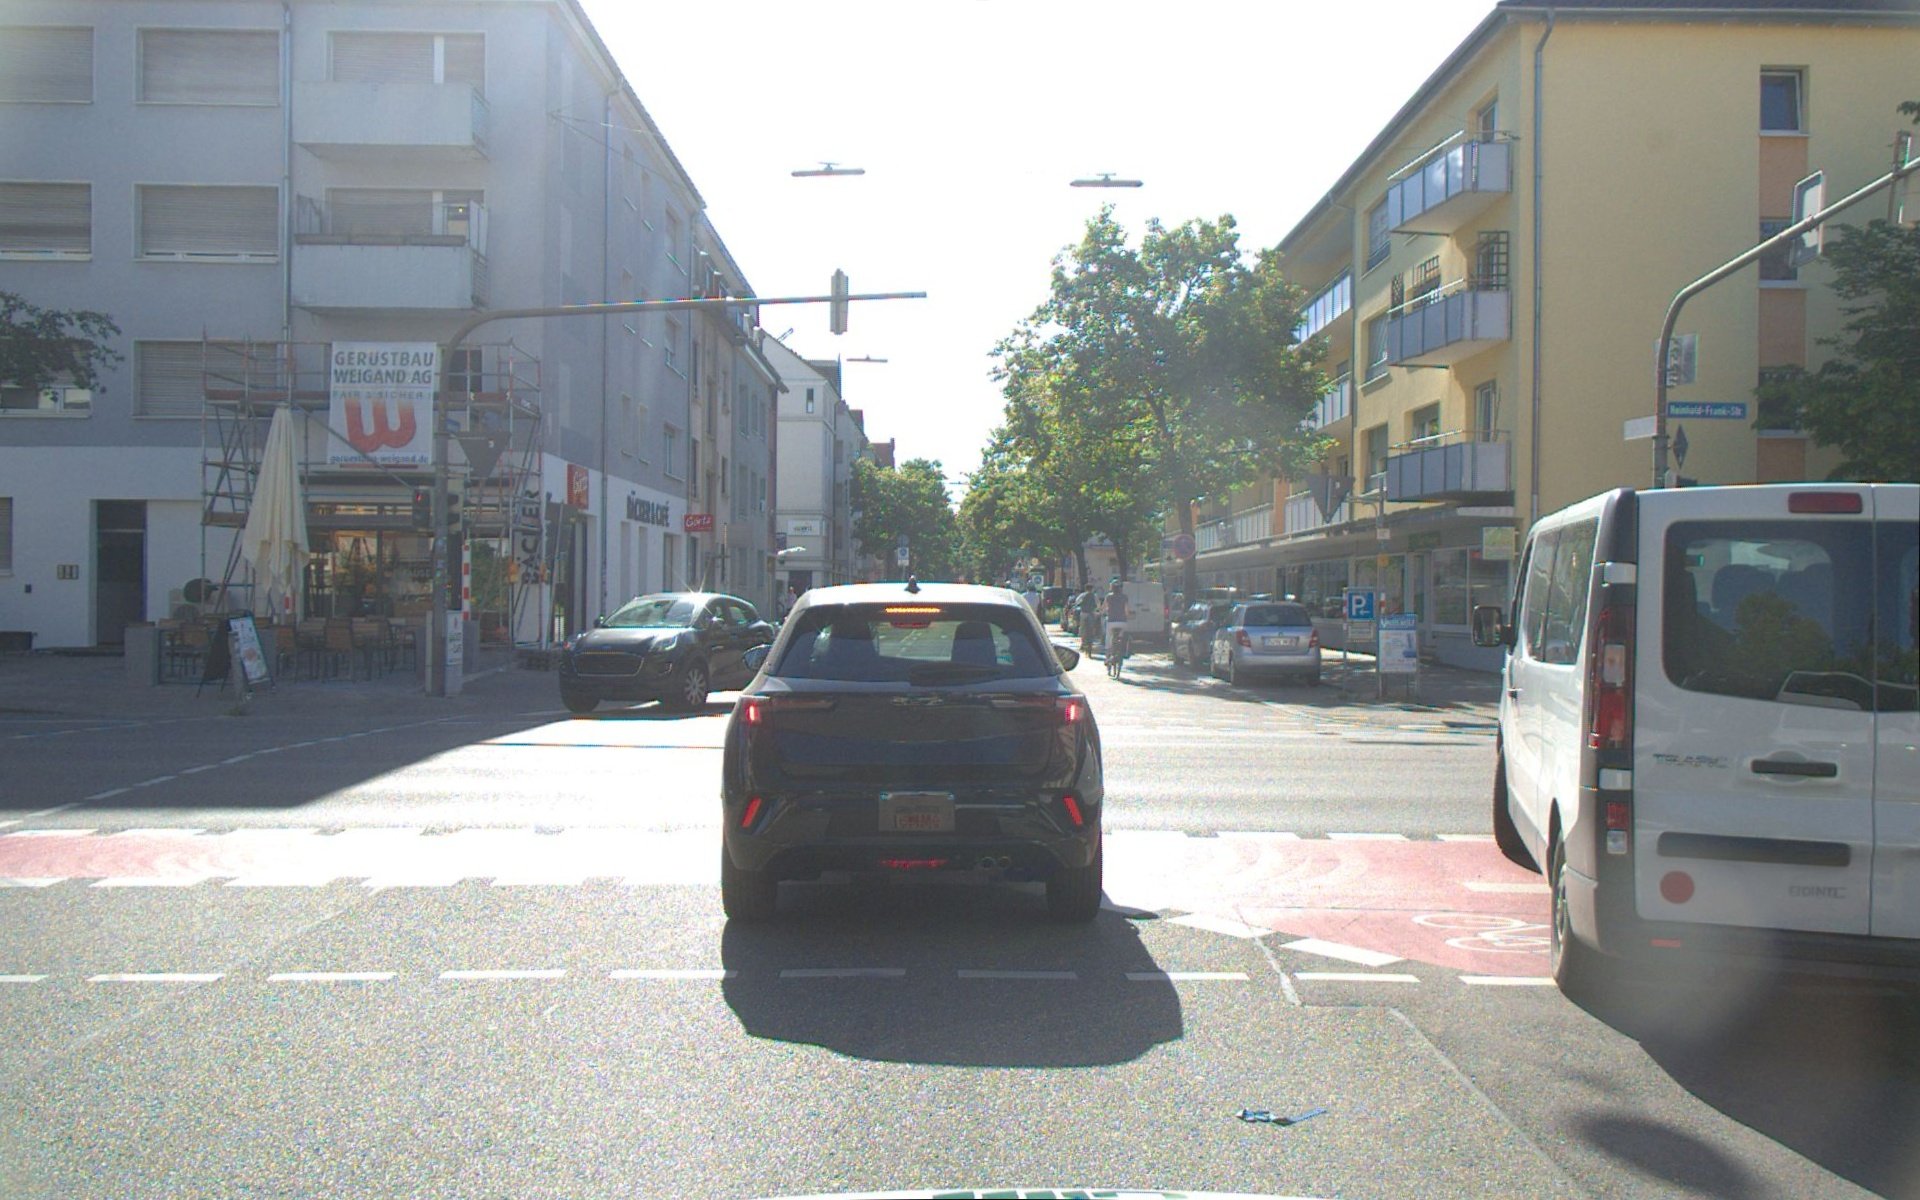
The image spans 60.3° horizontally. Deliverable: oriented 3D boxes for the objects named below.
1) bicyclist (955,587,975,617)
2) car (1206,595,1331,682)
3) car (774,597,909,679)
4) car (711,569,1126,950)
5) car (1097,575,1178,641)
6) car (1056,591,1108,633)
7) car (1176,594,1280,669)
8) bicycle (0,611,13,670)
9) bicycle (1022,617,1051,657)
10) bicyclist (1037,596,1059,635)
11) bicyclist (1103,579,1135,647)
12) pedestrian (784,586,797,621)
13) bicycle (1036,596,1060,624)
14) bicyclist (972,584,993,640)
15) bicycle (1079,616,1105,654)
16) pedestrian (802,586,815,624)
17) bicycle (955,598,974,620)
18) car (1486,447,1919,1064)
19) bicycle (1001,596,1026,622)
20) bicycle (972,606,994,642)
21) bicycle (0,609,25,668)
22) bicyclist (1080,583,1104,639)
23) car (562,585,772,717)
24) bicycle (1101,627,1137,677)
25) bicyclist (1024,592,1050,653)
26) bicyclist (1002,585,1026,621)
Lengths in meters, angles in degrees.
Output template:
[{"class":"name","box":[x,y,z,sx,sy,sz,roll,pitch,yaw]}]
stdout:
[{"class":"bicyclist","box":[0.232,0.081,77.853,0.839,1.337,1.210,2,0,-1]},{"class":"car","box":[5.705,0.674,30.920,1.677,1.509,3.480,0,0,0]},{"class":"car","box":[-2.224,0.690,32.282,1.766,1.437,4.429,-1,0,7]},{"class":"car","box":[-0.193,0.670,8.931,1.726,1.585,3.999,0,0,-1]},{"class":"car","box":[5.240,0.207,49.350,2.004,1.879,4.584,0,0,1]},{"class":"car","box":[4.504,0.437,61.474,1.677,1.509,3.381,0,0,0]},{"class":"car","box":[5.707,0.648,35.515,1.677,1.509,3.381,0,0,0]},{"class":"bicycle","box":[-16.266,0.653,26.804,1.556,0.956,0.512,0,0,1]},{"class":"bicycle","box":[1.793,0.854,38.907,0.607,0.881,1.876,0,0,1]},{"class":"bicyclist","box":[2.783,0.495,52.559,0.677,1.214,0.595,0,0,0]},{"class":"bicyclist","box":[3.024,0.242,31.420,0.535,1.284,0.803,0,0,1]},{"class":"pedestrian","box":[-7.283,0.135,71.016,0.566,1.493,0.702,0,0,-6]},{"class":"bicycle","box":[2.778,0.307,52.358,0.677,0.881,1.876,0,0,1]},{"class":"bicyclist","box":[0.694,0.371,50.624,0.619,1.698,1.050,0,0,-1]},{"class":"bicycle","box":[3.297,0.870,41.454,0.535,0.881,1.876,0,0,1]},{"class":"pedestrian","box":[-6.479,0.220,70.793,0.566,1.610,0.707,0,0,-6]},{"class":"bicycle","box":[0.216,0.407,77.862,0.839,0.961,2.307,3,0,-1]},{"class":"car","box":[3.677,0.519,7.777,1.926,1.974,5.059,2,0,14]},{"class":"bicycle","box":[2.092,0.338,64.826,0.839,0.961,2.307,3,0,-1]},{"class":"bicycle","box":[0.705,0.727,50.789,0.619,1.059,1.795,0,0,-1]},{"class":"bicycle","box":[-16.473,0.631,27.505,1.556,0.956,0.512,0,0,1]},{"class":"bicyclist","box":[3.300,0.270,41.354,0.535,1.406,0.823,0,0,1]},{"class":"car","box":[-3.818,0.631,22.228,1.558,1.593,4.092,-1,0,8]},{"class":"bicycle","box":[3.020,0.973,31.538,0.535,0.881,1.876,0,0,1]},{"class":"bicyclist","box":[1.795,0.515,38.833,0.576,1.406,0.823,0,0,1]},{"class":"bicyclist","box":[2.103,0.113,64.861,0.839,1.337,1.210,2,0,-1]}]
